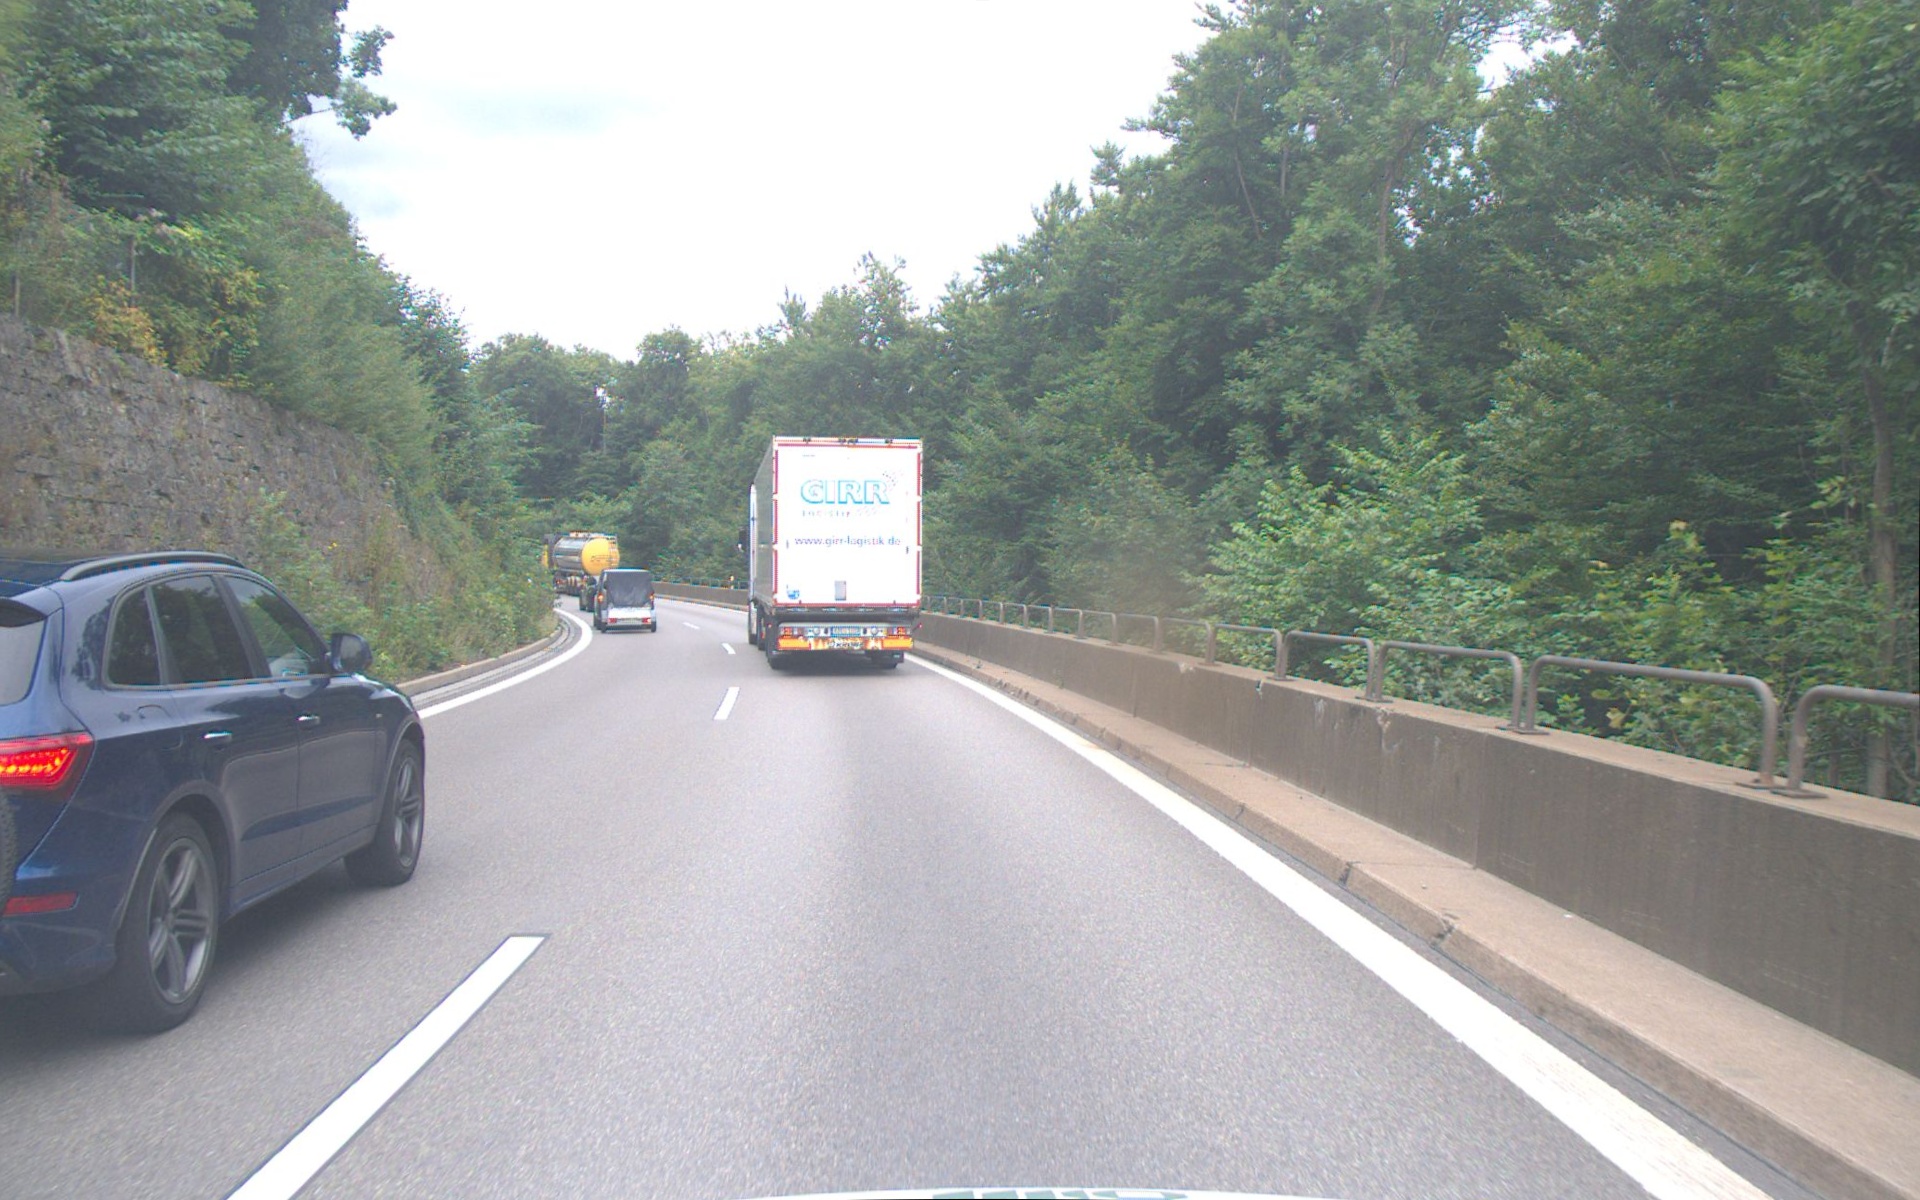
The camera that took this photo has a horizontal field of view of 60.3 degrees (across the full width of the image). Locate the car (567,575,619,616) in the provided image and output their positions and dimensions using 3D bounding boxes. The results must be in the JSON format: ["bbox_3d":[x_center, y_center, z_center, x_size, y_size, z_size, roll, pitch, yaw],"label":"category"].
[{"bbox_3d":[-16.292,-0.219,73.254,1.962,1.747,3.981,0,0,-17],"label":"car"}]

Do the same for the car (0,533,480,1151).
[{"bbox_3d":[-3.569,0.609,6.496,1.932,1.621,5.581,3,-1,-3],"label":"car"}]

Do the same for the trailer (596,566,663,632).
[{"bbox_3d":[-10.332,-0.020,51.868,1.935,1.973,3.422,1,0,-10],"label":"trailer"}]

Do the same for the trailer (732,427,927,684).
[{"bbox_3d":[-2.955,-0.941,33.266,3.000,4.054,12.117,3,2,-8],"label":"trailer"}]

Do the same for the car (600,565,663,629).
[{"bbox_3d":[-11.122,-0.079,56.266,1.957,2.049,5.526,1,0,-10],"label":"car"}]

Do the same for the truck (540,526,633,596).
[{"bbox_3d":[-23.563,-2.320,103.704,3.018,4.056,13.593,0,0,-24],"label":"truck"}]

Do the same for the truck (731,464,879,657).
[{"bbox_3d":[-3.856,-0.980,39.653,3.000,4.055,7.175,3,2,-8],"label":"truck"}]
